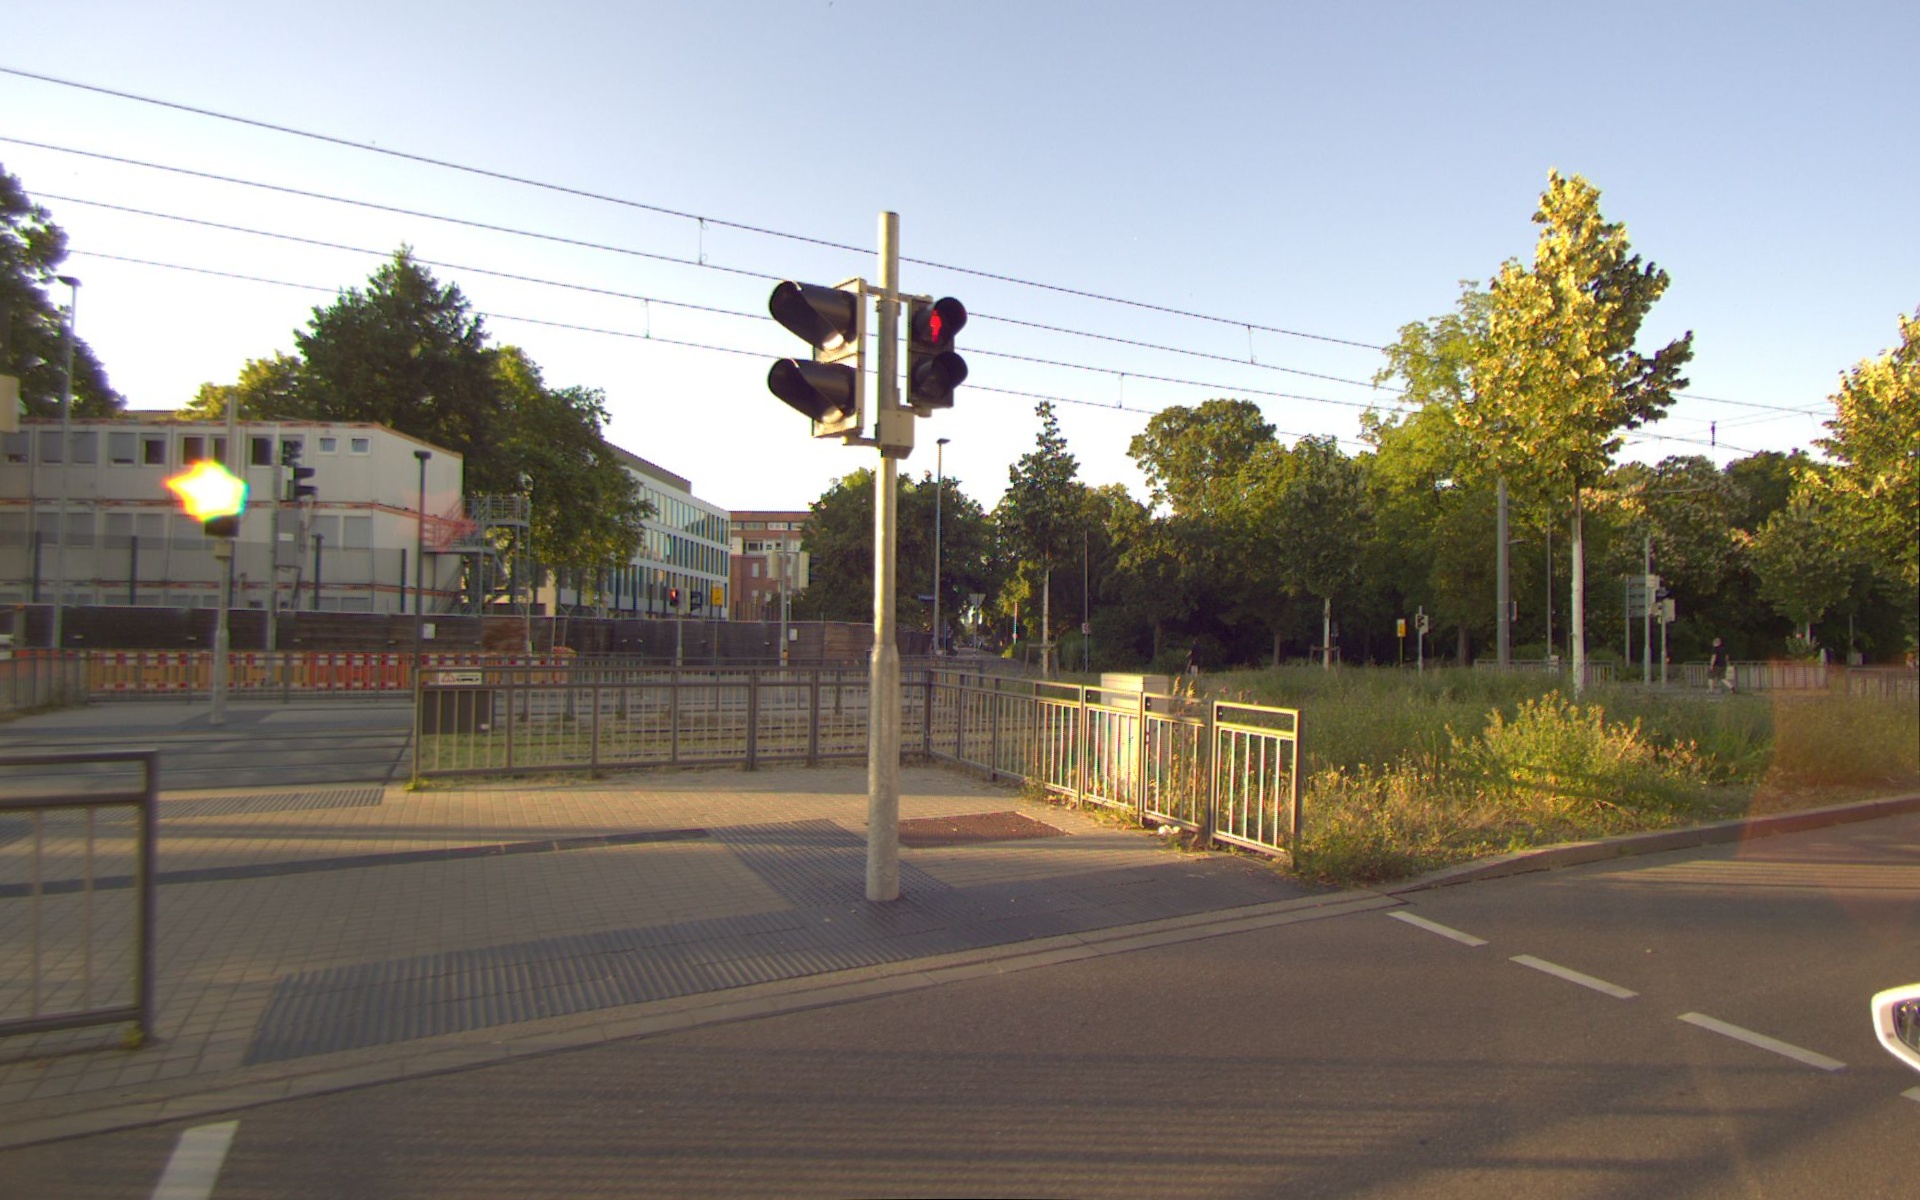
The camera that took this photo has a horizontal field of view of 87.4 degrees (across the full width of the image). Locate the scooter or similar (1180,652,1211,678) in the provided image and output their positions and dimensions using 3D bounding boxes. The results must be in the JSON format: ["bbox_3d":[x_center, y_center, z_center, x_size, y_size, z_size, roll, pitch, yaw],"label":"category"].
[{"bbox_3d":[10.859,2.991,46.423,1.314,1.168,0.511,-1,-3,41],"label":"scooter or similar"}]

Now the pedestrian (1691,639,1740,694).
[{"bbox_3d":[22.300,1.950,29.656,0.796,1.607,0.838,1,-2,-1],"label":"pedestrian"}]

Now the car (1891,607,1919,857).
[{"bbox_3d":[8.683,0.906,7.112,4.216,1.681,1.847,1,0,-29],"label":"car"}]

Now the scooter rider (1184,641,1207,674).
[{"bbox_3d":[10.886,2.655,46.452,0.811,1.534,0.650,-1,-2,41],"label":"scooter rider"}]
